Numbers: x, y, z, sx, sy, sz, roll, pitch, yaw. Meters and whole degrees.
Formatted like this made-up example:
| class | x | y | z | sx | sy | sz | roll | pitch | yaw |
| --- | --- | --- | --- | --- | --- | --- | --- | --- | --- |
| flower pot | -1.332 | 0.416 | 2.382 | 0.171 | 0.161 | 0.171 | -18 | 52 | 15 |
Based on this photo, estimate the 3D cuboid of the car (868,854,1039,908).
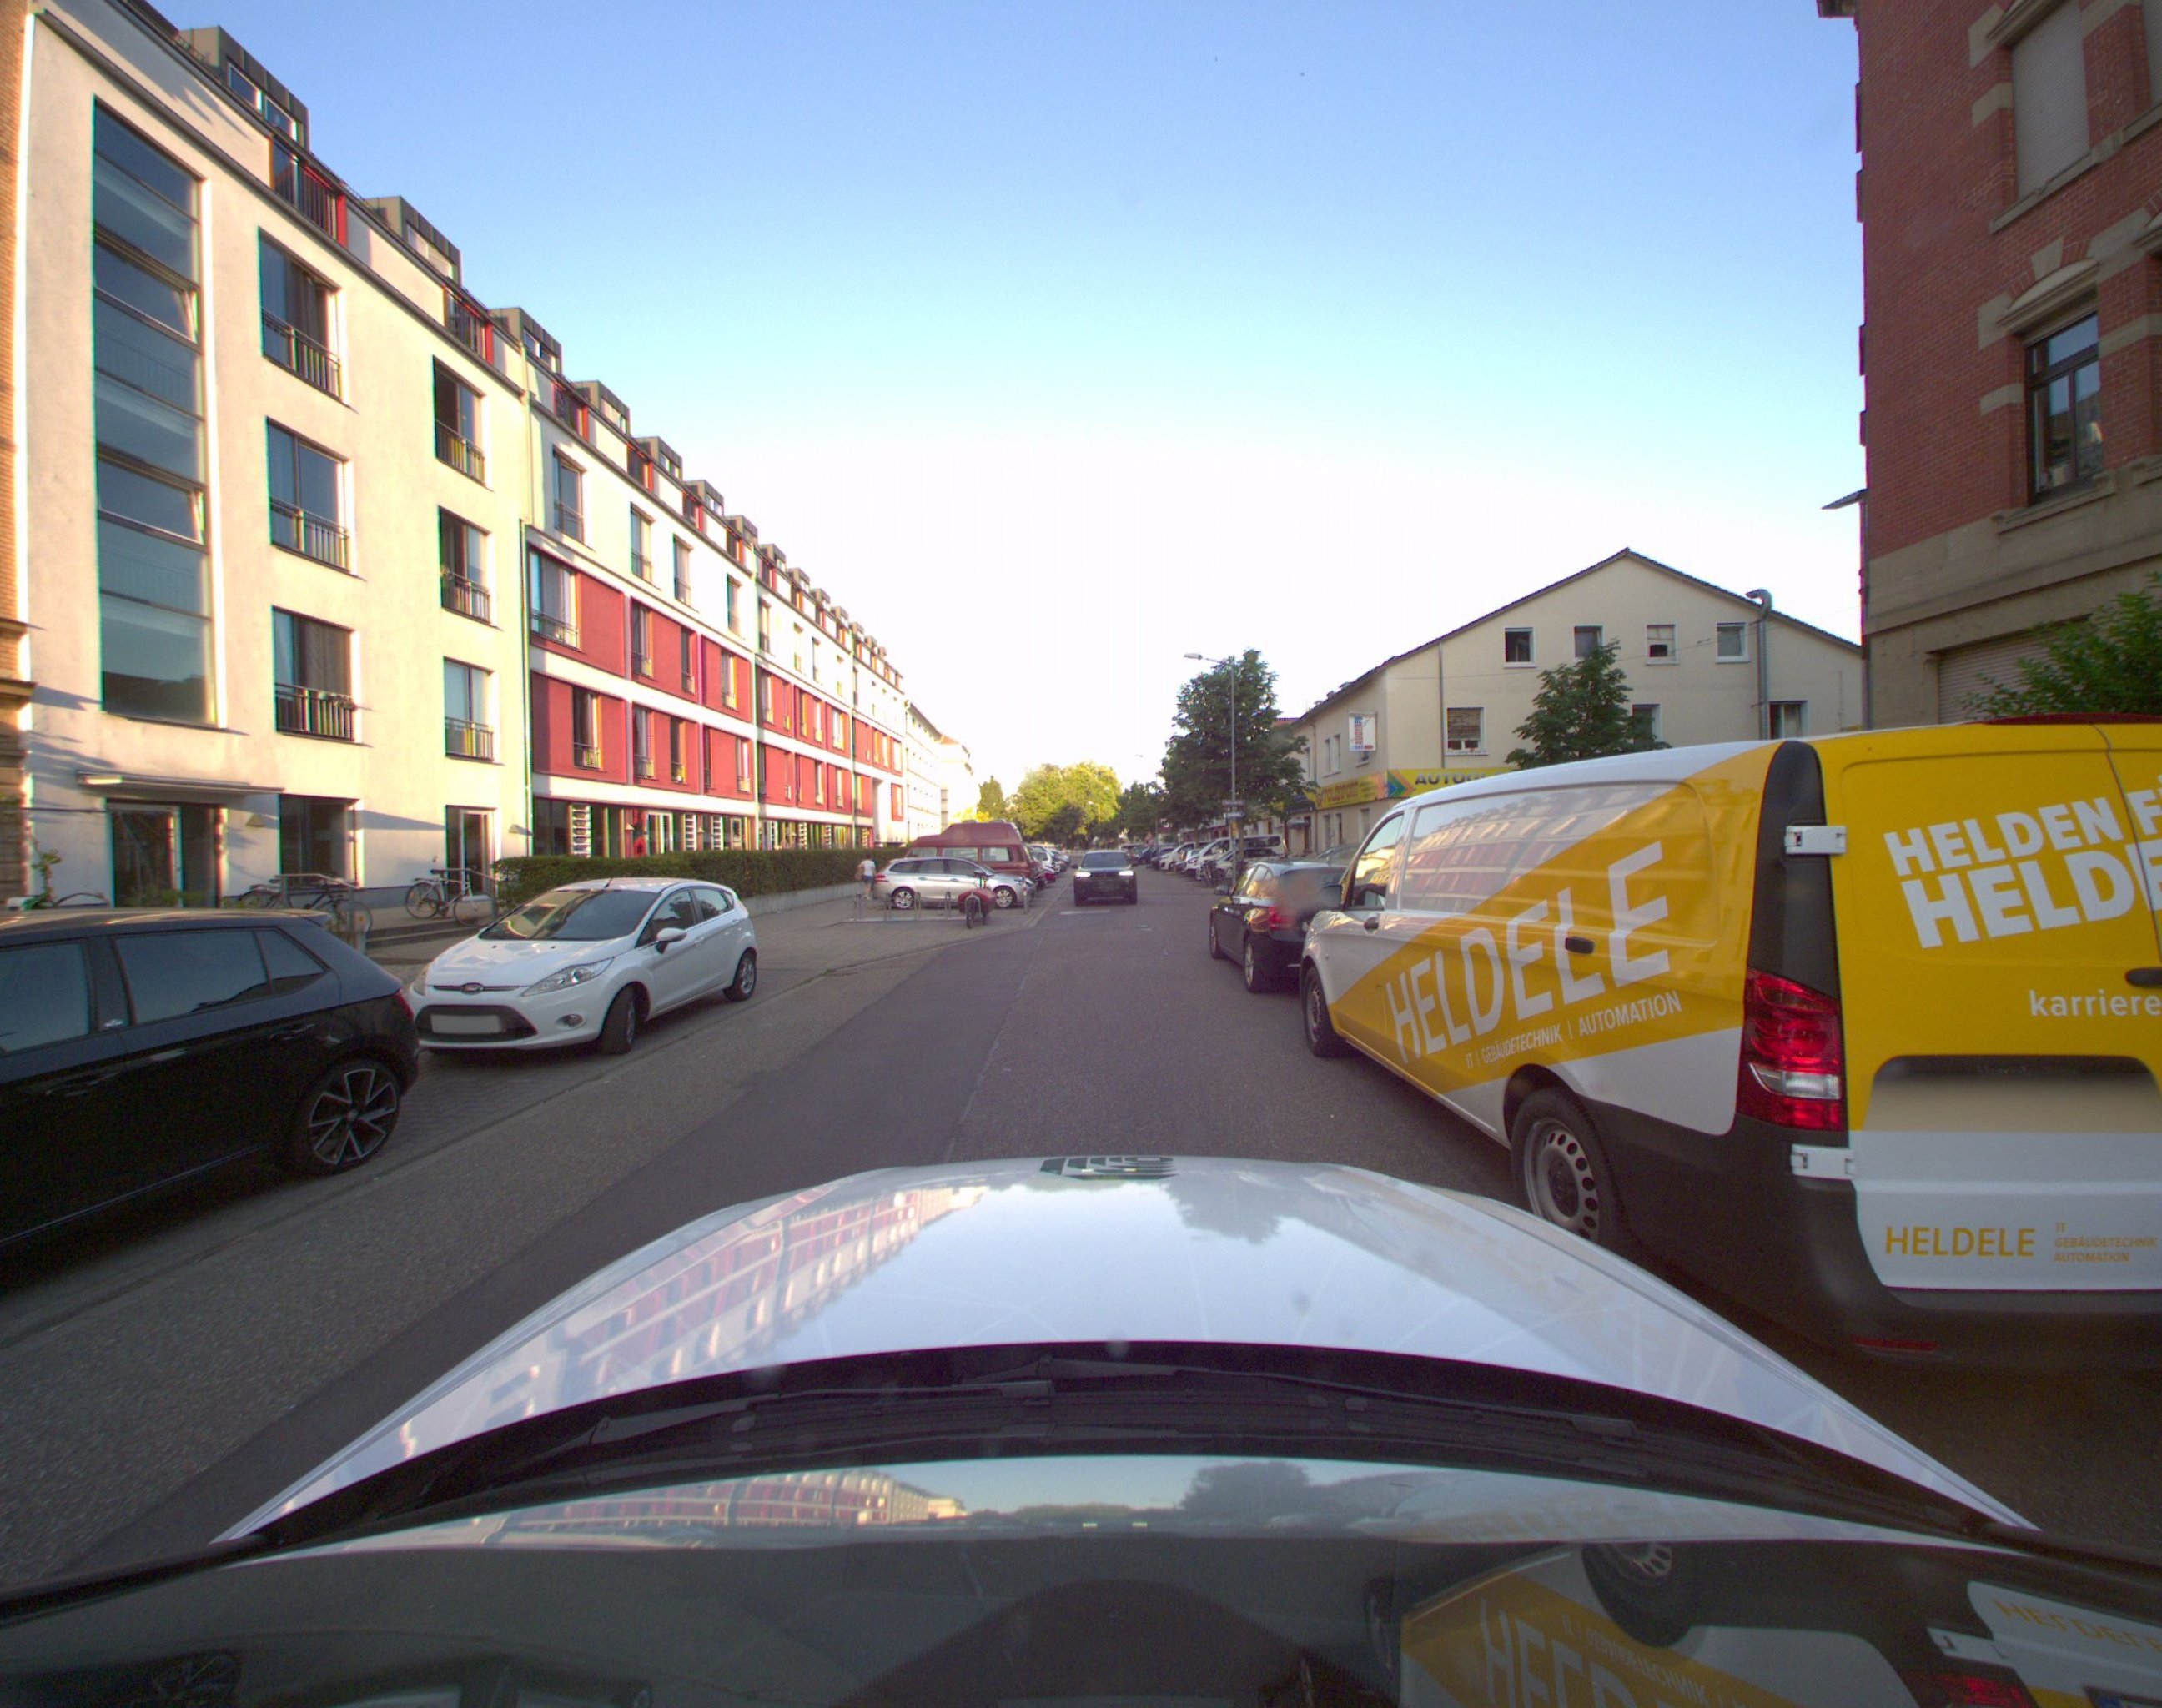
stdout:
| class | x | y | z | sx | sy | sz | roll | pitch | yaw |
| --- | --- | --- | --- | --- | --- | --- | --- | --- | --- |
| car | -3.513 | 0.731 | 23.143 | 4.604 | 1.460 | 1.879 | 0 | 0 | -3 |

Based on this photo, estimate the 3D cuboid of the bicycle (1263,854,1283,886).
| class | x | y | z | sx | sy | sz | roll | pitch | yaw |
| --- | --- | --- | --- | --- | --- | --- | --- | --- | --- |
| bicycle | 7.517 | 0.609 | 31.979 | 0.443 | 1.200 | 1.482 | -2 | 0 | 2 |

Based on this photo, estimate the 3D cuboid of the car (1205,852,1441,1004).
| class | x | y | z | sx | sy | sz | roll | pitch | yaw |
| --- | --- | --- | --- | --- | --- | --- | --- | --- | --- |
| car | 2.645 | 0.708 | 9.950 | 1.715 | 1.424 | 4.254 | 0 | 0 | 1 |

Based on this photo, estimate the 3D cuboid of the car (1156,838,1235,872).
| class | x | y | z | sx | sy | sz | roll | pitch | yaw |
| --- | --- | --- | --- | --- | --- | --- | --- | --- | --- |
| car | 7.586 | 0.067 | 54.374 | 4.929 | 1.958 | 2.049 | -3 | 0 | -1 |

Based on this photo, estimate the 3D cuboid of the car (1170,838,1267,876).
| class | x | y | z | sx | sy | sz | roll | pitch | yaw |
| --- | --- | --- | --- | --- | --- | --- | --- | --- | --- |
| car | 7.429 | 0.172 | 44.434 | 4.925 | 1.742 | 2.050 | -3 | 0 | 2 |

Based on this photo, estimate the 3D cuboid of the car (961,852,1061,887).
| class | x | y | z | sx | sy | sz | roll | pitch | yaw |
| --- | --- | --- | --- | --- | --- | --- | --- | --- | --- |
| car | -3.041 | 0.665 | 35.895 | 4.193 | 1.490 | 1.850 | 0 | 0 | 1 |

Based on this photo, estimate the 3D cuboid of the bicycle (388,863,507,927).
| class | x | y | z | sx | sy | sz | roll | pitch | yaw |
| --- | --- | --- | --- | --- | --- | --- | --- | --- | --- |
| bicycle | -11.746 | 0.744 | 15.122 | 1.768 | 1.148 | 0.611 | 0 | 0 | 3 |

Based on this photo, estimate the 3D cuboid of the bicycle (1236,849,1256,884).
| class | x | y | z | sx | sy | sz | roll | pitch | yaw |
| --- | --- | --- | --- | --- | --- | --- | --- | --- | --- |
| bicycle | 6.521 | 0.486 | 32.184 | 0.384 | 1.304 | 2.018 | -2 | 0 | 2 |

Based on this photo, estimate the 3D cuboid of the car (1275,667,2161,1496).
| class | x | y | z | sx | sy | sz | roll | pitch | yaw |
| --- | --- | --- | --- | --- | --- | --- | --- | --- | --- |
| car | 2.563 | 0.494 | 4.400 | 1.886 | 1.884 | 5.083 | -1 | 0 | 1 |

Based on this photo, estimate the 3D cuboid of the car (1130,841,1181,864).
| class | x | y | z | sx | sy | sz | roll | pitch | yaw |
| --- | --- | --- | --- | --- | --- | --- | --- | --- | --- |
| car | 7.009 | -0.143 | 76.698 | 4.470 | 1.911 | 1.686 | -3 | 0 | -4 |

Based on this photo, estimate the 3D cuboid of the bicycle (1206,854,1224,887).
| class | x | y | z | sx | sy | sz | roll | pitch | yaw |
| --- | --- | --- | --- | --- | --- | --- | --- | --- | --- |
| bicycle | 5.272 | 0.636 | 32.178 | 0.384 | 1.200 | 2.018 | -2 | 0 | 2 |

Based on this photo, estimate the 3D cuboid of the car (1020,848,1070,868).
| class | x | y | z | sx | sy | sz | roll | pitch | yaw |
| --- | --- | --- | --- | --- | --- | --- | --- | --- | --- |
| car | -3.126 | 0.354 | 71.811 | 4.241 | 1.714 | 2.001 | 0 | 0 | 1 |

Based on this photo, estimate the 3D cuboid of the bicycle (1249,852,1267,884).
| class | x | y | z | sx | sy | sz | roll | pitch | yaw |
| --- | --- | --- | --- | --- | --- | --- | --- | --- | --- |
| bicycle | 6.939 | 0.545 | 32.021 | 0.384 | 1.200 | 1.482 | -2 | 0 | 2 |

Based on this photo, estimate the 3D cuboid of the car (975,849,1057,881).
| class | x | y | z | sx | sy | sz | roll | pitch | yaw |
| --- | --- | --- | --- | --- | --- | --- | --- | --- | --- |
| car | -3.445 | 0.568 | 43.798 | 4.241 | 1.660 | 2.001 | 0 | 0 | 1 |

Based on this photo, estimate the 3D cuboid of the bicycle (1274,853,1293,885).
| class | x | y | z | sx | sy | sz | roll | pitch | yaw |
| --- | --- | --- | --- | --- | --- | --- | --- | --- | --- |
| bicycle | 7.944 | 0.582 | 31.962 | 0.351 | 1.200 | 1.482 | -2 | 0 | 2 |

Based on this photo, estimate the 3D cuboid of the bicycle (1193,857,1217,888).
| class | x | y | z | sx | sy | sz | roll | pitch | yaw |
| --- | --- | --- | --- | --- | --- | --- | --- | --- | --- |
| bicycle | 4.853 | 0.704 | 31.998 | 0.437 | 1.130 | 2.014 | -2 | 0 | -4 |

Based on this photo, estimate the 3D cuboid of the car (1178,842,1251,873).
| class | x | y | z | sx | sy | sz | roll | pitch | yaw |
| --- | --- | --- | --- | --- | --- | --- | --- | --- | --- |
| car | 7.648 | 0.194 | 47.064 | 3.897 | 1.526 | 1.940 | -3 | 0 | 2 |

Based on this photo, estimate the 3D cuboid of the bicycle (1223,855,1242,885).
| class | x | y | z | sx | sy | sz | roll | pitch | yaw |
| --- | --- | --- | --- | --- | --- | --- | --- | --- | --- |
| bicycle | 5.981 | 0.631 | 32.198 | 0.384 | 1.114 | 2.018 | -2 | 0 | 2 |

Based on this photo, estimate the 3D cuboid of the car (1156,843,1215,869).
| class | x | y | z | sx | sy | sz | roll | pitch | yaw |
| --- | --- | --- | --- | --- | --- | --- | --- | --- | --- |
| car | 8.187 | 0.137 | 64.099 | 4.303 | 1.804 | 1.810 | -3 | 0 | -1 |

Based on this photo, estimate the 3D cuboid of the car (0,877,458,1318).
| class | x | y | z | sx | sy | sz | roll | pitch | yaw |
| --- | --- | --- | --- | --- | --- | --- | --- | --- | --- |
| car | -4.799 | 0.937 | 3.167 | 1.697 | 1.534 | 3.845 | -1 | 0 | 1 |

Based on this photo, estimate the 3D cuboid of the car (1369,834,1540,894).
| class | x | y | z | sx | sy | sz | roll | pitch | yaw |
| --- | --- | --- | --- | --- | --- | --- | --- | --- | --- |
| car | 10.115 | 0.247 | 22.276 | 3.910 | 1.455 | 1.660 | -2 | 1 | 4 |

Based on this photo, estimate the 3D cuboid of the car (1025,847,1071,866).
| class | x | y | z | sx | sy | sz | roll | pitch | yaw |
| --- | --- | --- | --- | --- | --- | --- | --- | --- | --- |
| car | -3.066 | 0.263 | 76.584 | 4.241 | 1.749 | 2.001 | 0 | 0 | 1 |

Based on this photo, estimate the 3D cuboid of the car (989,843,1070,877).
| class | x | y | z | sx | sy | sz | roll | pitch | yaw |
| --- | --- | --- | --- | --- | --- | --- | --- | --- | --- |
| car | -3.172 | 0.353 | 50.707 | 4.833 | 2.021 | 1.907 | 0 | 0 | 1 |

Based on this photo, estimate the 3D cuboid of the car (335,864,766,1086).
| class | x | y | z | sx | sy | sz | roll | pitch | yaw |
| --- | --- | --- | --- | --- | --- | --- | --- | --- | --- |
| car | -4.674 | 0.912 | 8.008 | 1.646 | 1.530 | 4.015 | -1 | 0 | -1 |

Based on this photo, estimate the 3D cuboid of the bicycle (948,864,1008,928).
| class | x | y | z | sx | sy | sz | roll | pitch | yaw |
| --- | --- | --- | --- | --- | --- | --- | --- | --- | --- |
| bicycle | -2.199 | 0.860 | 17.822 | 0.804 | 1.221 | 2.867 | 0 | 0 | 3 |

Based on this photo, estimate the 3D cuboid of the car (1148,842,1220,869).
| class | x | y | z | sx | sy | sz | roll | pitch | yaw |
| --- | --- | --- | --- | --- | --- | --- | --- | --- | --- |
| car | 7.442 | 0.109 | 59.203 | 4.929 | 1.689 | 2.076 | -3 | 0 | -1 |

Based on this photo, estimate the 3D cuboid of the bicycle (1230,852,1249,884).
| class | x | y | z | sx | sy | sz | roll | pitch | yaw |
| --- | --- | --- | --- | --- | --- | --- | --- | --- | --- |
| bicycle | 6.262 | 0.546 | 32.180 | 0.384 | 1.200 | 2.018 | -2 | 0 | 2 |

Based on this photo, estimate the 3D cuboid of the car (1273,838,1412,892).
| class | x | y | z | sx | sy | sz | roll | pitch | yaw |
| --- | --- | --- | --- | --- | --- | --- | --- | --- | --- |
| car | 8.569 | 0.331 | 26.919 | 4.035 | 1.514 | 1.757 | -3 | 2 | 2 |

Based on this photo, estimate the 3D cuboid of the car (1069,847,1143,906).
| class | x | y | z | sx | sy | sz | roll | pitch | yaw |
| --- | --- | --- | --- | --- | --- | --- | --- | --- | --- |
| car | 0.813 | 0.596 | 23.902 | 1.770 | 1.517 | 4.007 | -3 | 0 | 6 |

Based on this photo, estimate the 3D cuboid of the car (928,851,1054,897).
| class | x | y | z | sx | sy | sz | roll | pitch | yaw |
| --- | --- | --- | --- | --- | --- | --- | --- | --- | --- |
| car | -3.052 | 0.686 | 28.284 | 4.196 | 1.538 | 1.790 | 0 | 0 | -1 |

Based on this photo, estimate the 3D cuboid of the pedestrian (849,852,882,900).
| class | x | y | z | sx | sy | sz | roll | pitch | yaw |
| --- | --- | --- | --- | --- | --- | --- | --- | --- | --- |
| pedestrian | -6.980 | 0.702 | 26.379 | 0.829 | 1.501 | 0.798 | 0 | 0 | 2 |

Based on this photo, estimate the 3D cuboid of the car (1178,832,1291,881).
| class | x | y | z | sx | sy | sz | roll | pitch | yaw |
| --- | --- | --- | --- | --- | --- | --- | --- | --- | --- |
| car | 7.309 | 0.110 | 39.088 | 4.971 | 1.983 | 2.221 | -3 | 0 | 1 |

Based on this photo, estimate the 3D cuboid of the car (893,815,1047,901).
| class | x | y | z | sx | sy | sz | roll | pitch | yaw |
| --- | --- | --- | --- | --- | --- | --- | --- | --- | --- |
| car | -3.425 | 0.111 | 25.718 | 4.493 | 2.584 | 2.001 | 0 | 0 | 2 |

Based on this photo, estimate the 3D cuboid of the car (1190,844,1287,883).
| class | x | y | z | sx | sy | sz | roll | pitch | yaw |
| --- | --- | --- | --- | --- | --- | --- | --- | --- | --- |
| car | 6.977 | 0.390 | 36.307 | 3.907 | 1.451 | 1.767 | -3 | 0 | -2 |

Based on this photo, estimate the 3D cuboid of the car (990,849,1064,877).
| class | x | y | z | sx | sy | sz | roll | pitch | yaw |
| --- | --- | --- | --- | --- | --- | --- | --- | --- | --- |
| car | -3.157 | 0.514 | 48.151 | 4.241 | 1.652 | 1.888 | 0 | 0 | 1 |

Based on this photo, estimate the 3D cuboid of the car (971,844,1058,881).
| class | x | y | z | sx | sy | sz | roll | pitch | yaw |
| --- | --- | --- | --- | --- | --- | --- | --- | --- | --- |
| car | -3.322 | 0.406 | 41.322 | 4.241 | 1.836 | 2.001 | 0 | 0 | 1 |

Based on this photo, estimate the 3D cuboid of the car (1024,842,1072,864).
| class | x | y | z | sx | sy | sz | roll | pitch | yaw |
| --- | --- | --- | --- | --- | --- | --- | --- | --- | --- |
| car | -3.153 | -0.124 | 79.222 | 4.517 | 2.134 | 2.001 | 0 | 0 | 1 |

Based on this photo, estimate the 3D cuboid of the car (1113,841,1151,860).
| class | x | y | z | sx | sy | sz | roll | pitch | yaw |
| --- | --- | --- | --- | --- | --- | --- | --- | --- | --- |
| car | 5.772 | -0.368 | 92.320 | 3.960 | 1.911 | 2.047 | -3 | 0 | -4 |

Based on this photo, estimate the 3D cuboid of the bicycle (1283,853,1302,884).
| class | x | y | z | sx | sy | sz | roll | pitch | yaw |
| --- | --- | --- | --- | --- | --- | --- | --- | --- | --- |
| bicycle | 8.305 | 0.560 | 32.037 | 0.351 | 1.143 | 1.482 | -2 | 0 | 2 |

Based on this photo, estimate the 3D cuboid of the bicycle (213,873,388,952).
| class | x | y | z | sx | sy | sz | roll | pitch | yaw |
| --- | --- | --- | --- | --- | --- | --- | --- | --- | --- |
| bicycle | -11.938 | 0.881 | 12.500 | 1.908 | 1.141 | 0.812 | 0 | 0 | 2 |
